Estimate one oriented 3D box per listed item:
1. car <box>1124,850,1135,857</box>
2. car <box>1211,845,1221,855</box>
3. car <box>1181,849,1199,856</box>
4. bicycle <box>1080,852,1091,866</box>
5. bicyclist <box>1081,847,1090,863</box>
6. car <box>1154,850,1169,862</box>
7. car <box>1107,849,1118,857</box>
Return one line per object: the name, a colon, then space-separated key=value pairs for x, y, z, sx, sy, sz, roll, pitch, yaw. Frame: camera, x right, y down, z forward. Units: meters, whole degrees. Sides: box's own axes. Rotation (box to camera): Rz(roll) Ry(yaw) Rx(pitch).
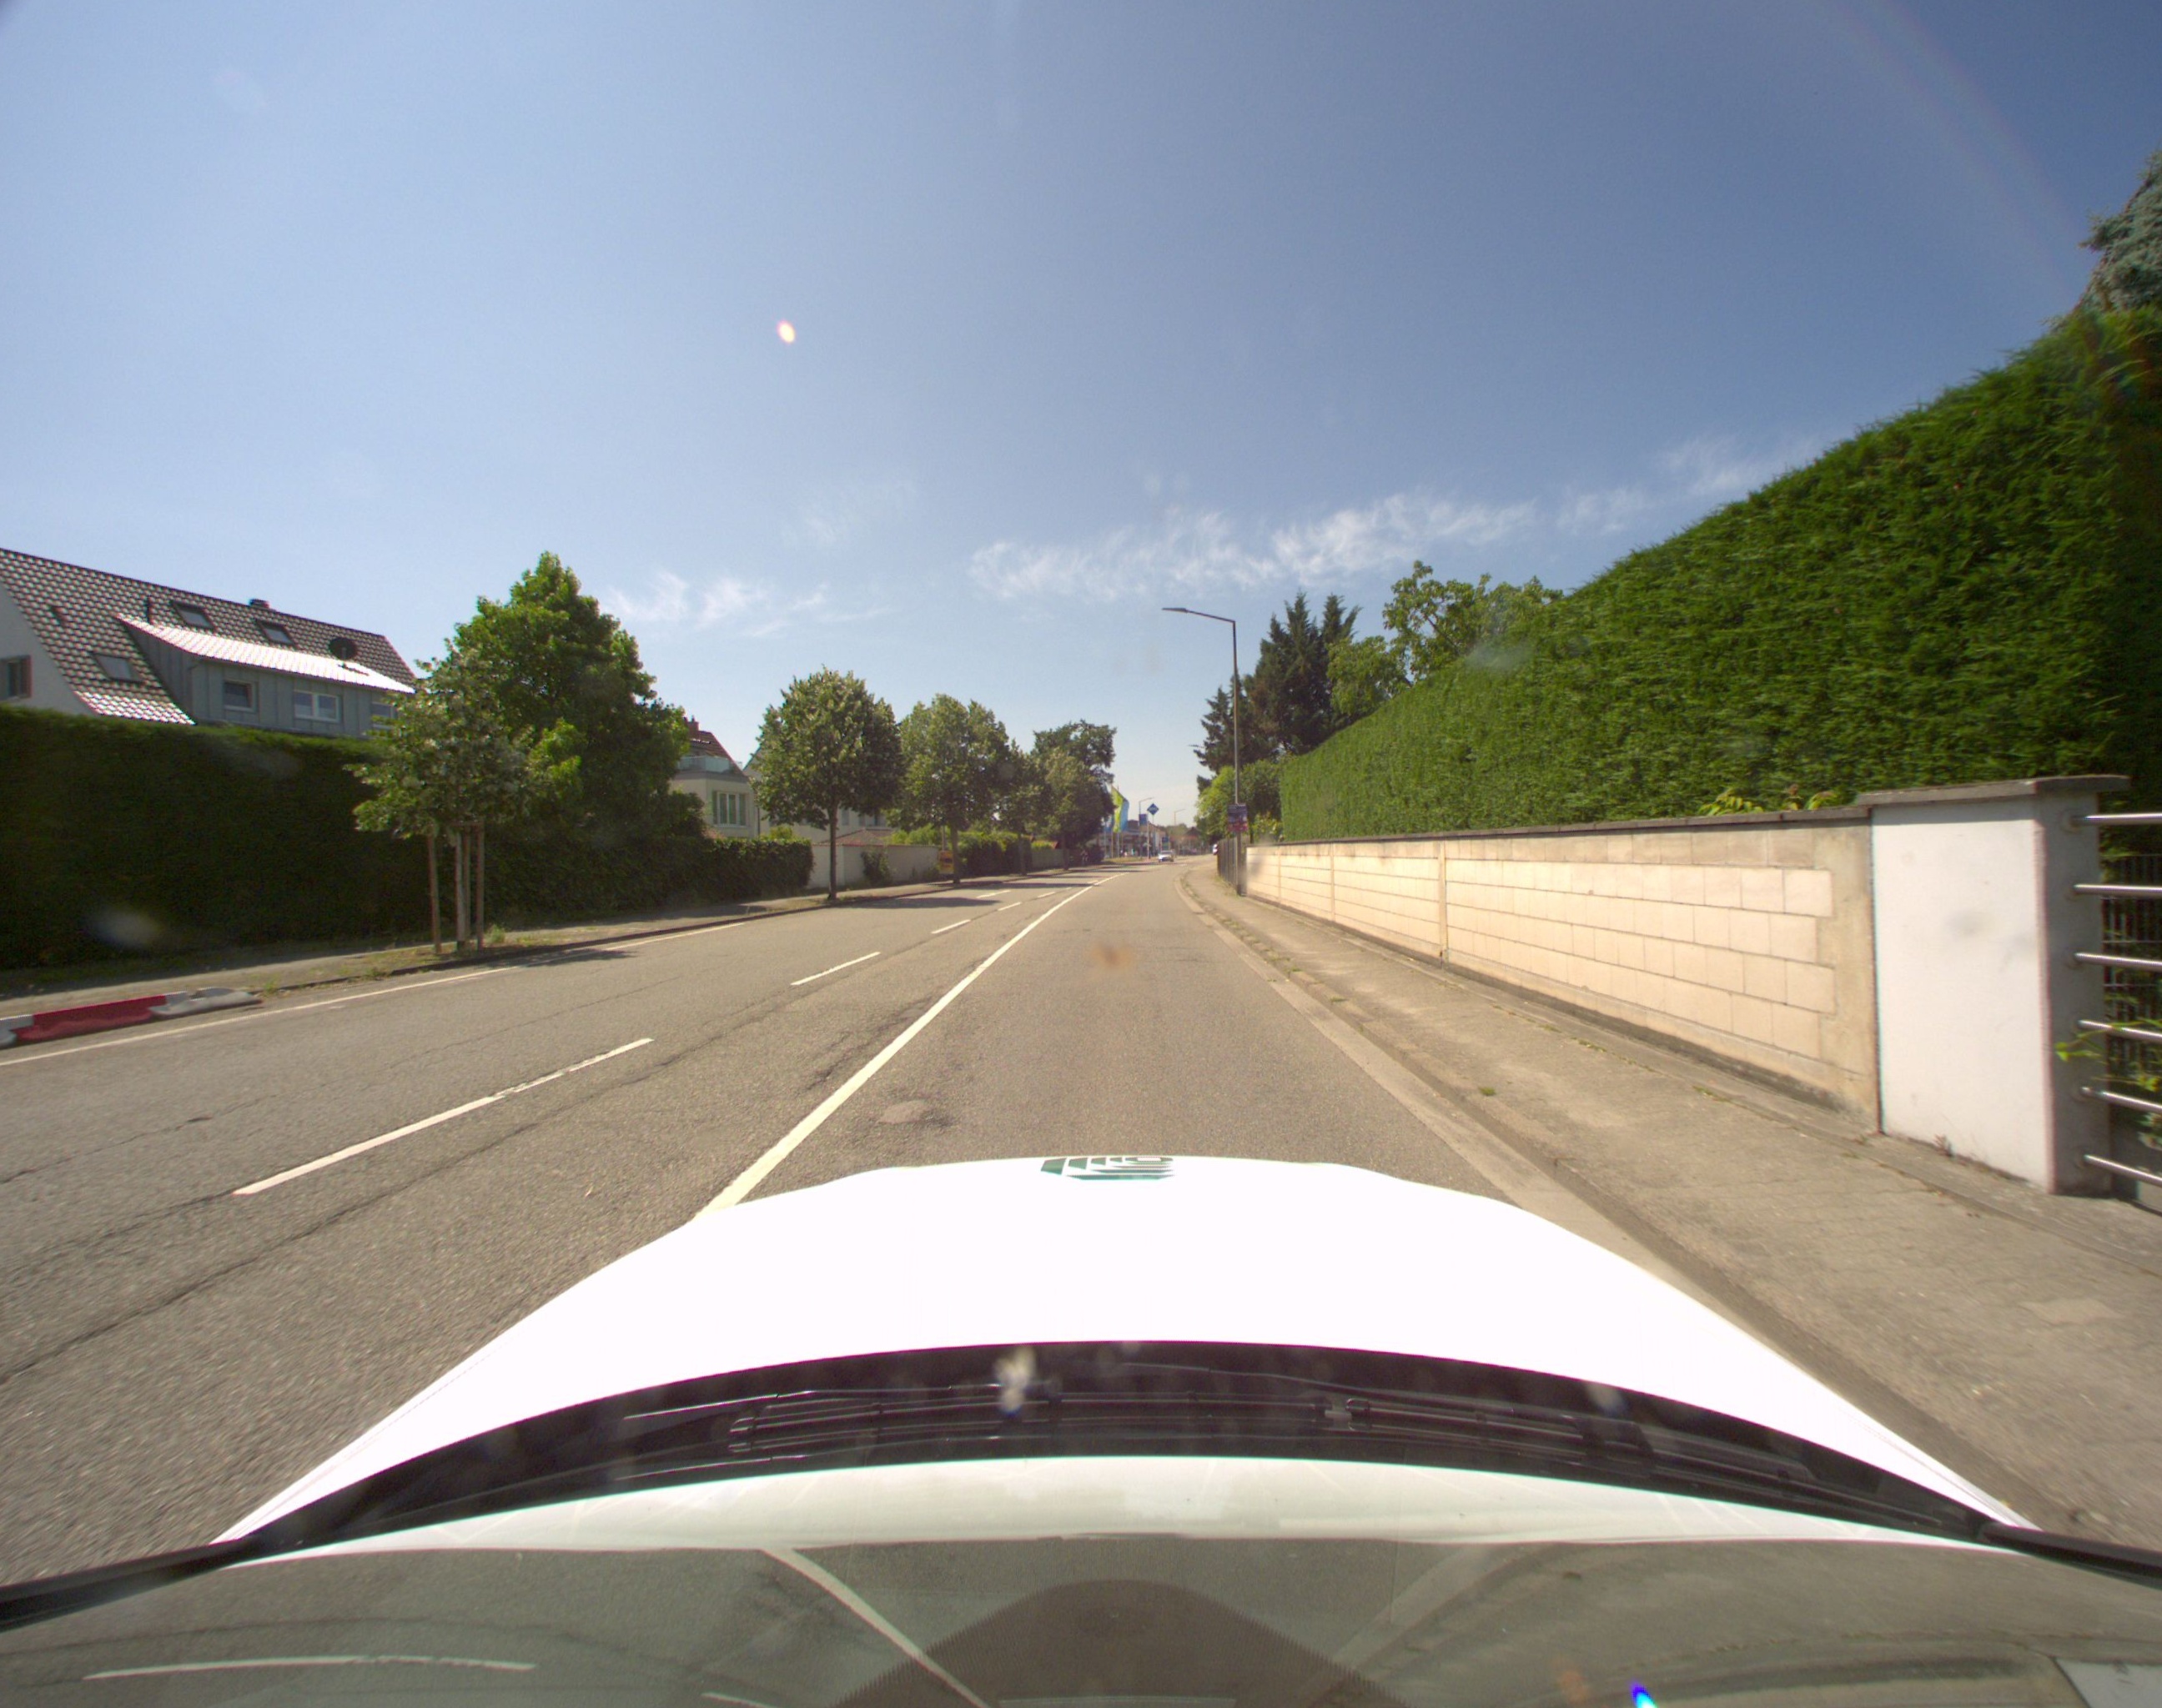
car: x=9.900 y=-0.071 z=166.192 sx=1.607 sy=1.420 sz=3.722 roll=-3 pitch=0 yaw=10
car: x=32.716 y=-0.929 z=197.453 sx=1.979 sy=2.423 sz=5.970 roll=0 pitch=-1 yaw=14
car: x=25.937 y=-0.426 z=193.763 sx=3.962 sy=1.508 sz=1.559 roll=-1 pitch=0 yaw=10
bicycle: x=0.392 y=0.448 z=72.580 sx=0.628 sy=1.180 sz=1.821 roll=-1 pitch=0 yaw=10
bicyclist: x=0.382 y=0.122 z=72.570 sx=0.624 sy=1.408 sz=0.678 roll=-1 pitch=0 yaw=9
car: x=10.330 y=0.218 z=104.073 sx=1.602 sy=1.482 sz=3.718 roll=-1 pitch=0 yaw=10
car: x=6.398 y=-0.216 z=166.369 sx=1.607 sy=1.420 sz=3.722 roll=-3 pitch=0 yaw=10
